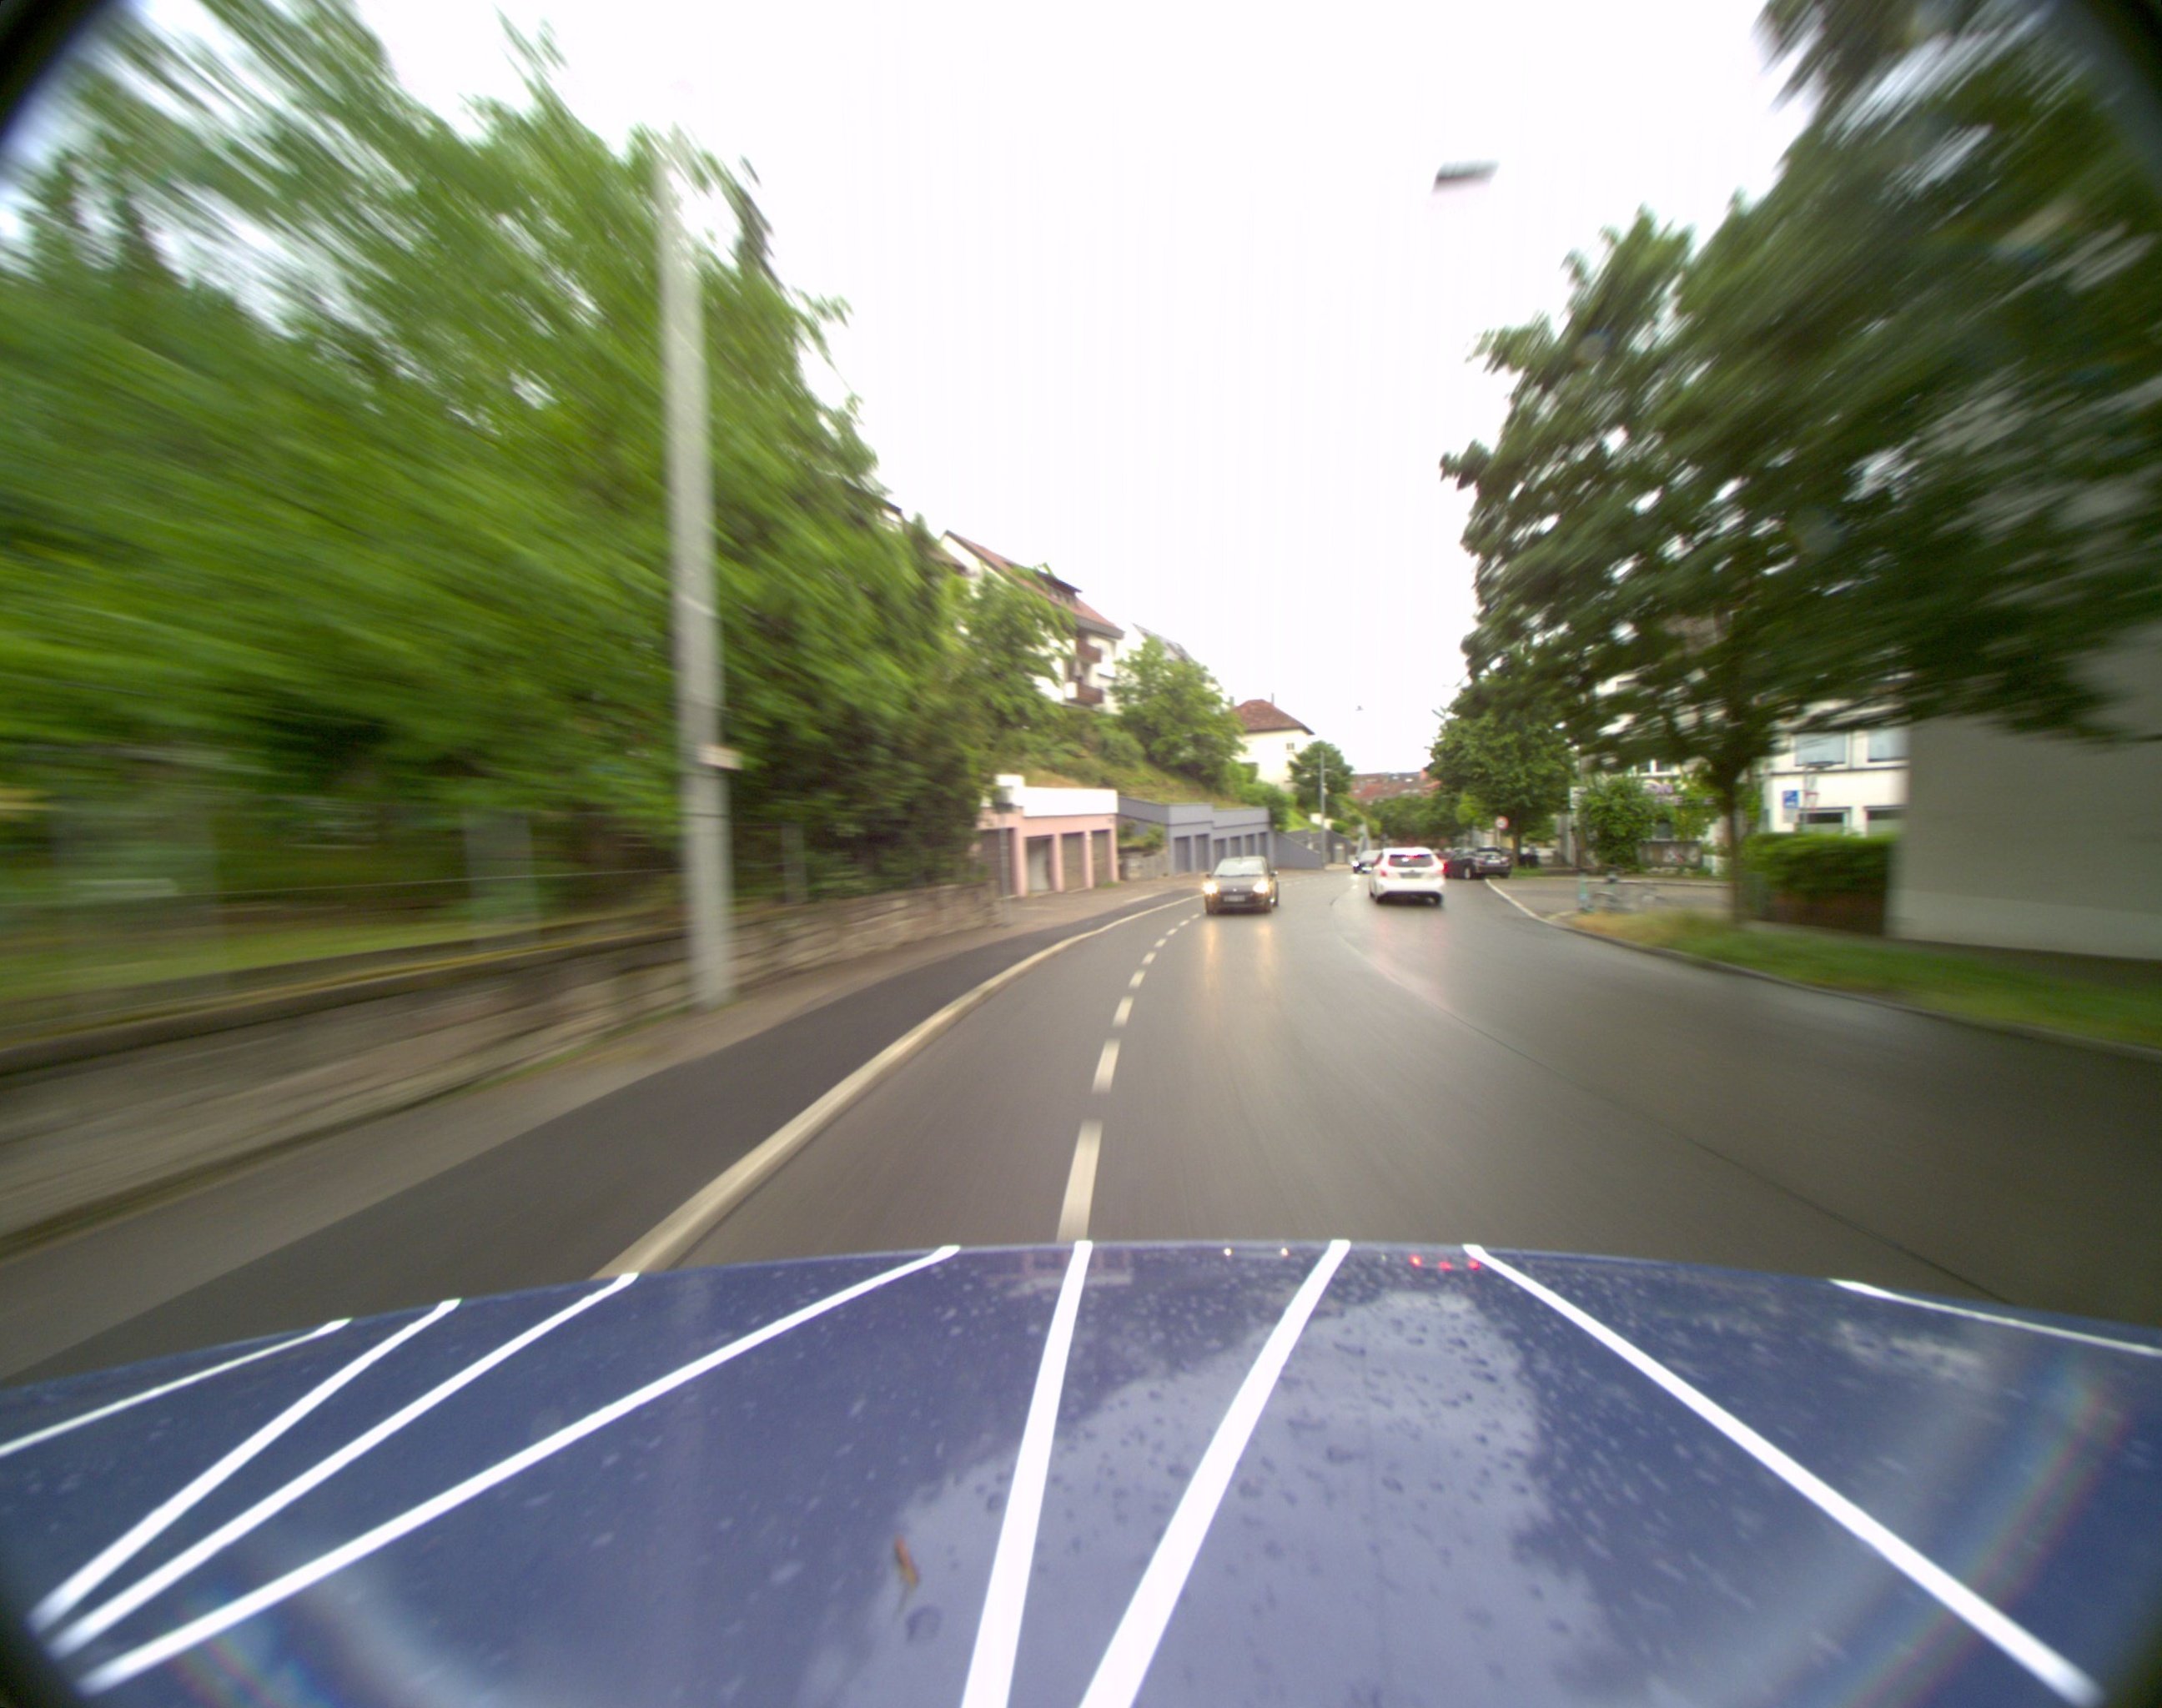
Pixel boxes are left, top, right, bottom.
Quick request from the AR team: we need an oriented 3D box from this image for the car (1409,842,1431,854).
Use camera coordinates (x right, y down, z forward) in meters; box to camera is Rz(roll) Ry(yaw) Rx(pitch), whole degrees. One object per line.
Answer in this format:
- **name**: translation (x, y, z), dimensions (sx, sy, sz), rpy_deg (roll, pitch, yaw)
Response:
- **car**: translation (52.061, -0.884, 116.777), dimensions (1.857, 1.766, 4.485), rpy_deg (-3, 0, 8)

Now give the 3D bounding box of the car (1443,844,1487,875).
- **car**: translation (20.165, 0.289, 39.807), dimensions (1.714, 1.454, 3.889), rpy_deg (-3, -2, 31)

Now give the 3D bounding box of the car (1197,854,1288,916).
- **car**: translation (4.496, 0.784, 20.688), dimensions (1.695, 1.456, 4.006), rpy_deg (-2, 0, 22)

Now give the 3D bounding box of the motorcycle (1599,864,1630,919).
- **motorcycle**: translation (12.628, 0.869, 17.996), dimensions (0.552, 1.221, 1.308), rpy_deg (-1, 0, 34)

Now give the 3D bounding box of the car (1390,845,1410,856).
- **car**: translation (52.726, -0.626, 125.593), dimensions (1.750, 1.680, 4.603), rpy_deg (-3, 0, 8)

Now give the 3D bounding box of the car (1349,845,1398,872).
- **car**: translation (18.659, 0.276, 48.324), dimensions (1.995, 1.502, 4.219), rpy_deg (-3, 0, 33)

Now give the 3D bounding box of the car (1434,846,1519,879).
- **car**: translation (18.303, 0.338, 35.406), dimensions (1.998, 1.383, 4.198), rpy_deg (-2, 1, 4)

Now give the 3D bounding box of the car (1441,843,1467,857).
- **car**: translation (49.048, -0.538, 100.065), dimensions (1.857, 1.680, 4.558), rpy_deg (-2, 0, 10)

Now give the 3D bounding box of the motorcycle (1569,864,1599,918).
- **motorcycle**: translation (11.966, 0.862, 18.058), dimensions (0.557, 1.196, 1.401), rpy_deg (-1, 0, 34)

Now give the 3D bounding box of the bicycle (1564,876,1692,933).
- **bicycle**: translation (11.038, 1.011, 15.388), dimensions (1.967, 1.054, 0.754), rpy_deg (-1, 0, 6)

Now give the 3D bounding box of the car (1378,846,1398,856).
- **car**: translation (52.997, -0.552, 131.280), dimensions (1.791, 1.631, 4.482), rpy_deg (-3, 0, 4)

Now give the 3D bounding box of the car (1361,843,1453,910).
- **car**: translation (9.612, 0.596, 22.744), dimensions (1.986, 1.778, 4.701), rpy_deg (1, 0, 17)
